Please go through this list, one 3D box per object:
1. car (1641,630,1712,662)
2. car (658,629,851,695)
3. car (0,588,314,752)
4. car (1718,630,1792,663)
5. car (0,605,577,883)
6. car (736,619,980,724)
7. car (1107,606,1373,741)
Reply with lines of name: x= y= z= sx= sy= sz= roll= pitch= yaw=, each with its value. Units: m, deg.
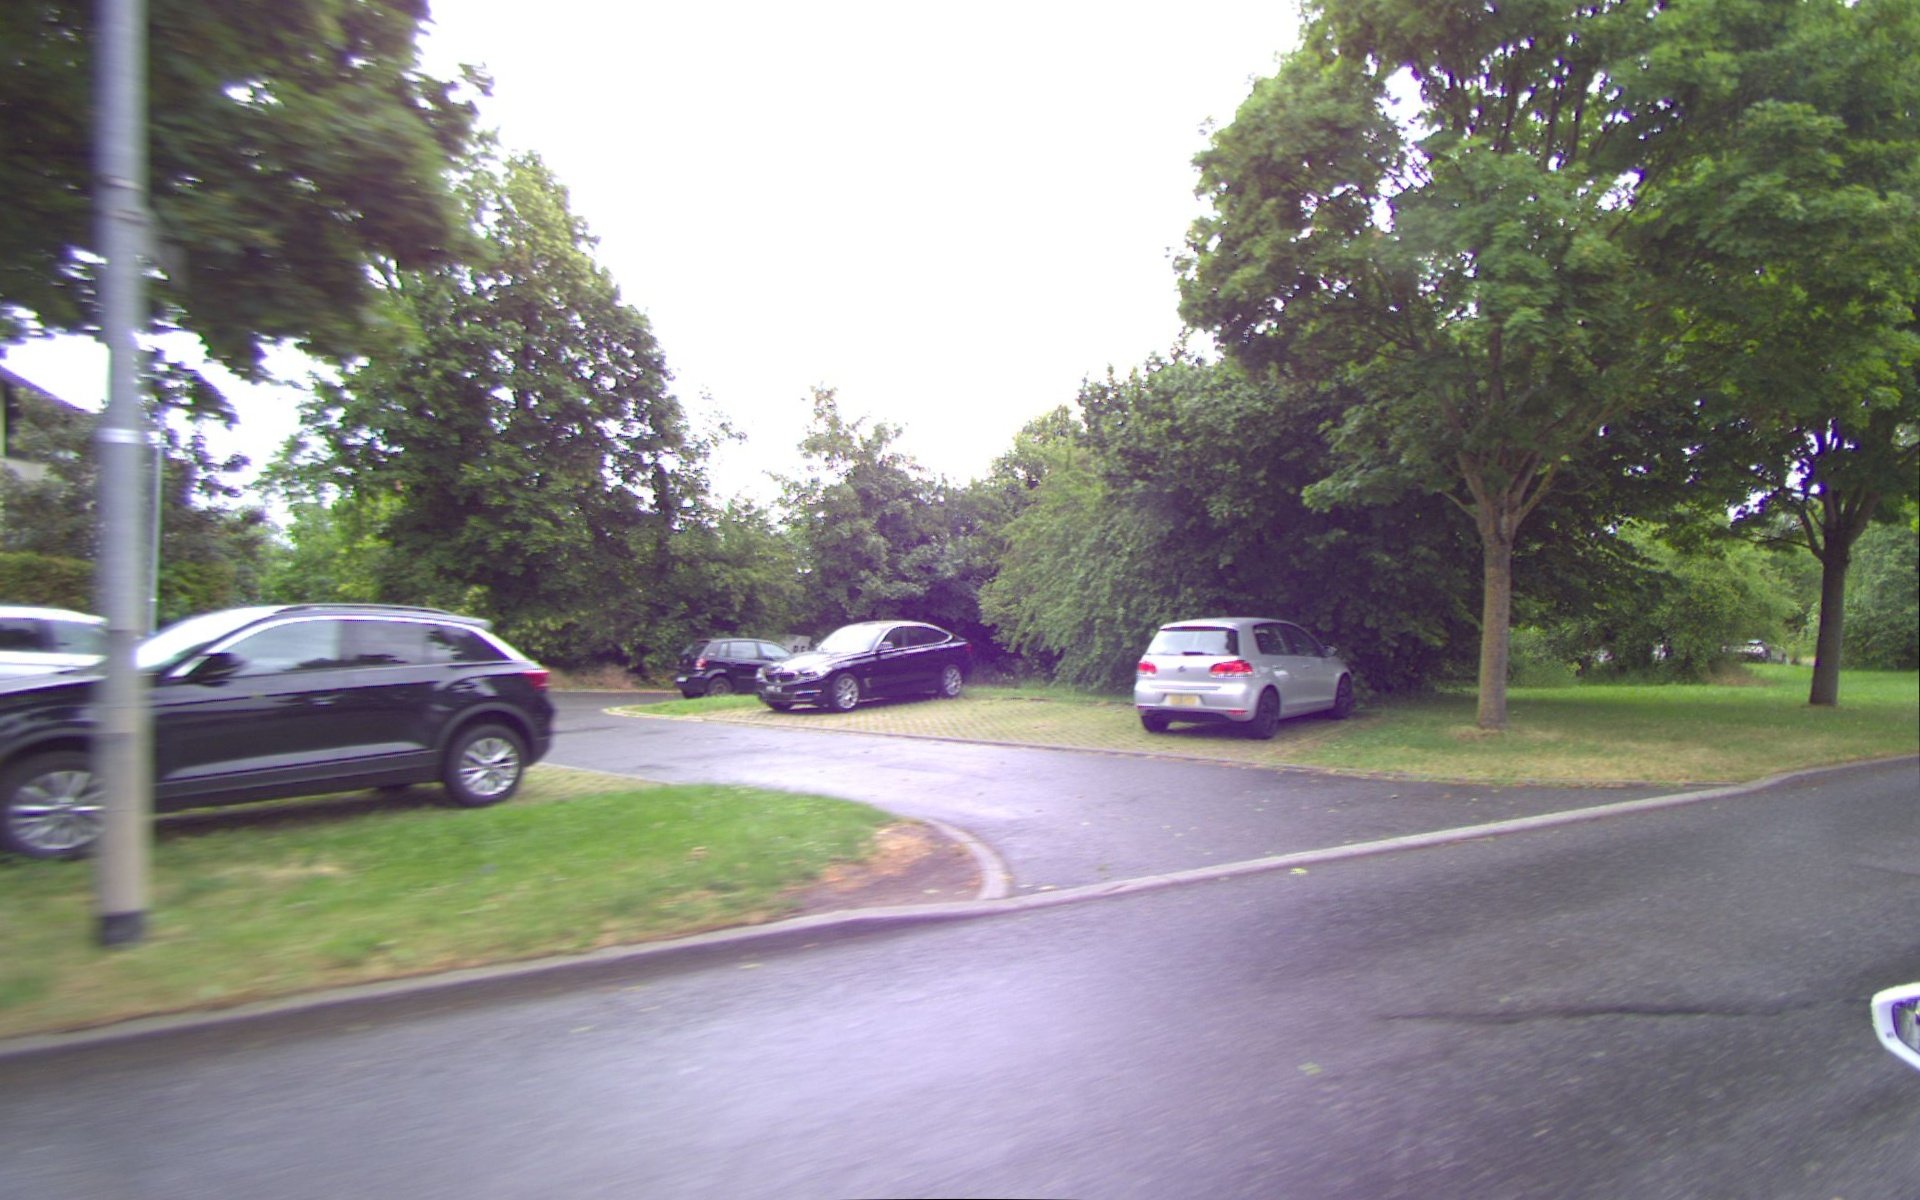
car: x=37.597 y=2.411 z=52.644 sx=4.312 sy=1.601 sz=1.840 roll=2 pitch=-2 yaw=-37
car: x=-4.795 y=1.405 z=23.839 sx=4.187 sy=1.429 sz=1.817 roll=1 pitch=-2 yaw=-43
car: x=-10.892 y=0.824 z=12.079 sx=1.881 sy=1.793 sz=4.877 roll=-2 pitch=-4 yaw=40
car: x=39.372 y=2.305 z=49.721 sx=4.960 sy=1.557 sz=1.776 roll=3 pitch=-3 yaw=-38
car: x=-5.215 y=0.873 z=7.311 sx=1.864 sy=1.533 sz=4.236 roll=-2 pitch=-3 yaw=35
car: x=-1.717 y=1.204 z=18.486 sx=1.838 sy=1.529 sz=4.589 roll=-2 pitch=0 yaw=36
car: x=3.977 y=0.889 z=13.829 sx=1.860 sy=1.449 sz=4.193 roll=-2 pitch=0 yaw=42
